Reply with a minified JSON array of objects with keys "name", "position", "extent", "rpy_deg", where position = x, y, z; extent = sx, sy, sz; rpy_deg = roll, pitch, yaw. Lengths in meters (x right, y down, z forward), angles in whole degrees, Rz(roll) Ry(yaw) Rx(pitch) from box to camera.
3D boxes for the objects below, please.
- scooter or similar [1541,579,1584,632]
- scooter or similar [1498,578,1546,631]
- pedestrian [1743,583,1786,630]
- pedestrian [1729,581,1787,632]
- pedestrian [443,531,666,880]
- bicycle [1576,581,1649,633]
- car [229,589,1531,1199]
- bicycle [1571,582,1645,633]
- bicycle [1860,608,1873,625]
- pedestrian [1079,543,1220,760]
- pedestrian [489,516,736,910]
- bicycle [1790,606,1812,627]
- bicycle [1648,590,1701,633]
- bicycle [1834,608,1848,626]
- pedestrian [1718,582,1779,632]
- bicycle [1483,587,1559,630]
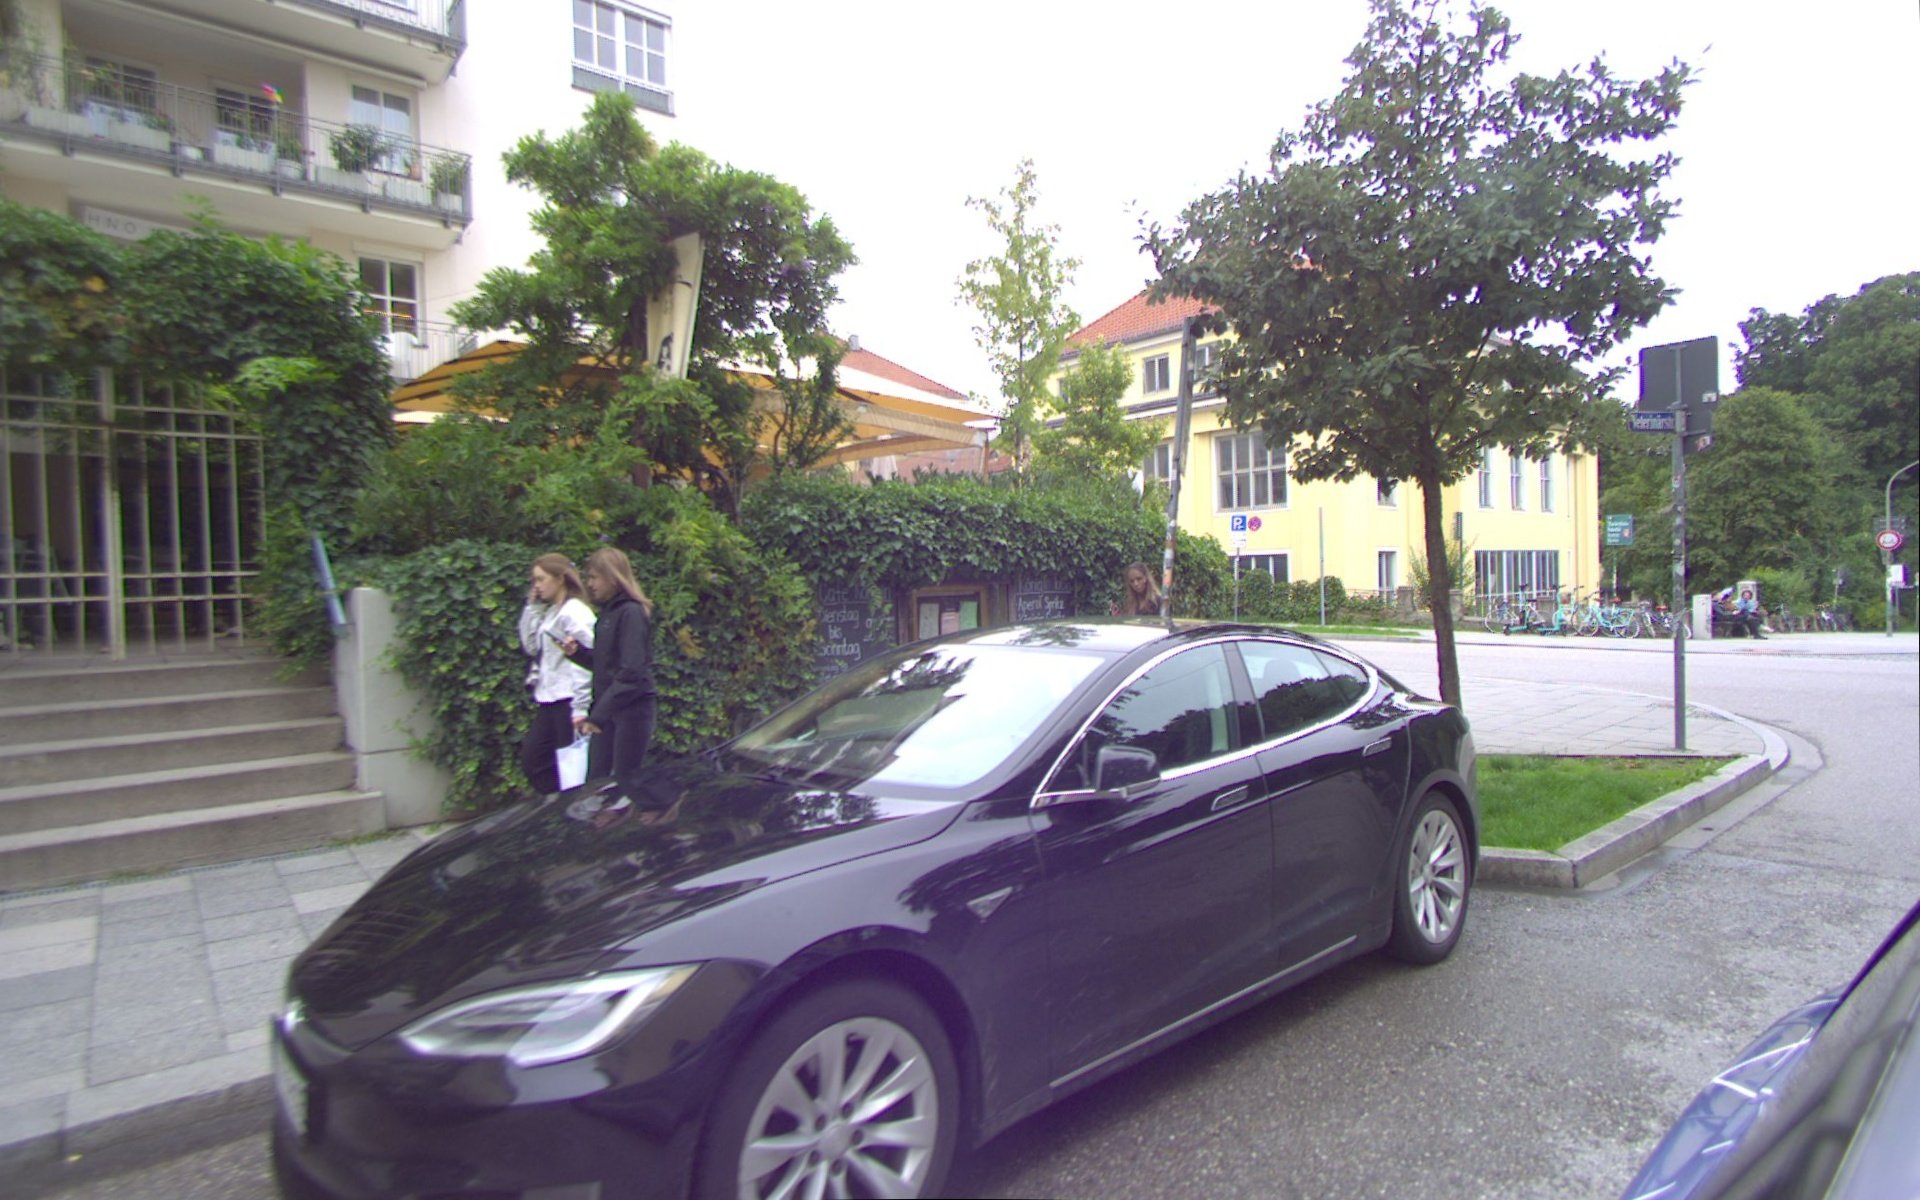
[{"name":"scooter or similar","position":[14.299,0.135,24.034],"extent":[0.317,1.228,1.118],"rpy_deg":[0,0,-3]},{"name":"scooter or similar","position":[13.660,0.107,24.600],"extent":[1.362,1.264,0.397],"rpy_deg":[0,0,-31]},{"name":"pedestrian","position":[21.870,0.185,27.514],"extent":[0.883,1.251,0.542],"rpy_deg":[-2,-4,40]},{"name":"pedestrian","position":[21.372,0.185,27.112],"extent":[1.172,1.310,0.630],"rpy_deg":[-2,-4,40]},{"name":"pedestrian","position":[-2.166,0.490,5.419],"extent":[0.865,1.682,0.706],"rpy_deg":[-3,2,-41]},{"name":"bicycle","position":[15.996,0.173,24.814],"extent":[1.623,1.213,0.169],"rpy_deg":[2,0,2]},{"name":"car","position":[0.207,0.717,3.716],"extent":[4.574,1.428,1.806],"rpy_deg":[-1,0,-40]},{"name":"bicycle","position":[16.012,0.178,25.012],"extent":[1.623,1.206,0.202],"rpy_deg":[2,0,2]},{"name":"bicycle","position":[36.621,0.661,40.895],"extent":[0.893,0.665,0.242],"rpy_deg":[1,1,-40]},{"name":"pedestrian","position":[1.546,0.380,8.250],"extent":[0.865,1.642,0.706],"rpy_deg":[-3,2,-41]},{"name":"pedestrian","position":[-1.665,0.464,4.865],"extent":[0.865,1.682,0.706],"rpy_deg":[-3,2,-41]},{"name":"bicycle","position":[27.936,0.554,33.617],"extent":[0.890,0.684,0.216],"rpy_deg":[1,0,-28]},{"name":"bicycle","position":[17.899,0.294,25.341],"extent":[1.620,1.051,0.308],"rpy_deg":[1,0,-26]},{"name":"bicycle","position":[33.157,0.634,38.088],"extent":[0.892,0.684,0.215],"rpy_deg":[1,0,-38]},{"name":"pedestrian","position":[20.655,0.206,26.524],"extent":[1.211,1.264,0.630],"rpy_deg":[-2,-4,40]},{"name":"bicycle","position":[14.096,0.207,25.449],"extent":[1.638,1.006,0.246],"rpy_deg":[2,0,27]}]
